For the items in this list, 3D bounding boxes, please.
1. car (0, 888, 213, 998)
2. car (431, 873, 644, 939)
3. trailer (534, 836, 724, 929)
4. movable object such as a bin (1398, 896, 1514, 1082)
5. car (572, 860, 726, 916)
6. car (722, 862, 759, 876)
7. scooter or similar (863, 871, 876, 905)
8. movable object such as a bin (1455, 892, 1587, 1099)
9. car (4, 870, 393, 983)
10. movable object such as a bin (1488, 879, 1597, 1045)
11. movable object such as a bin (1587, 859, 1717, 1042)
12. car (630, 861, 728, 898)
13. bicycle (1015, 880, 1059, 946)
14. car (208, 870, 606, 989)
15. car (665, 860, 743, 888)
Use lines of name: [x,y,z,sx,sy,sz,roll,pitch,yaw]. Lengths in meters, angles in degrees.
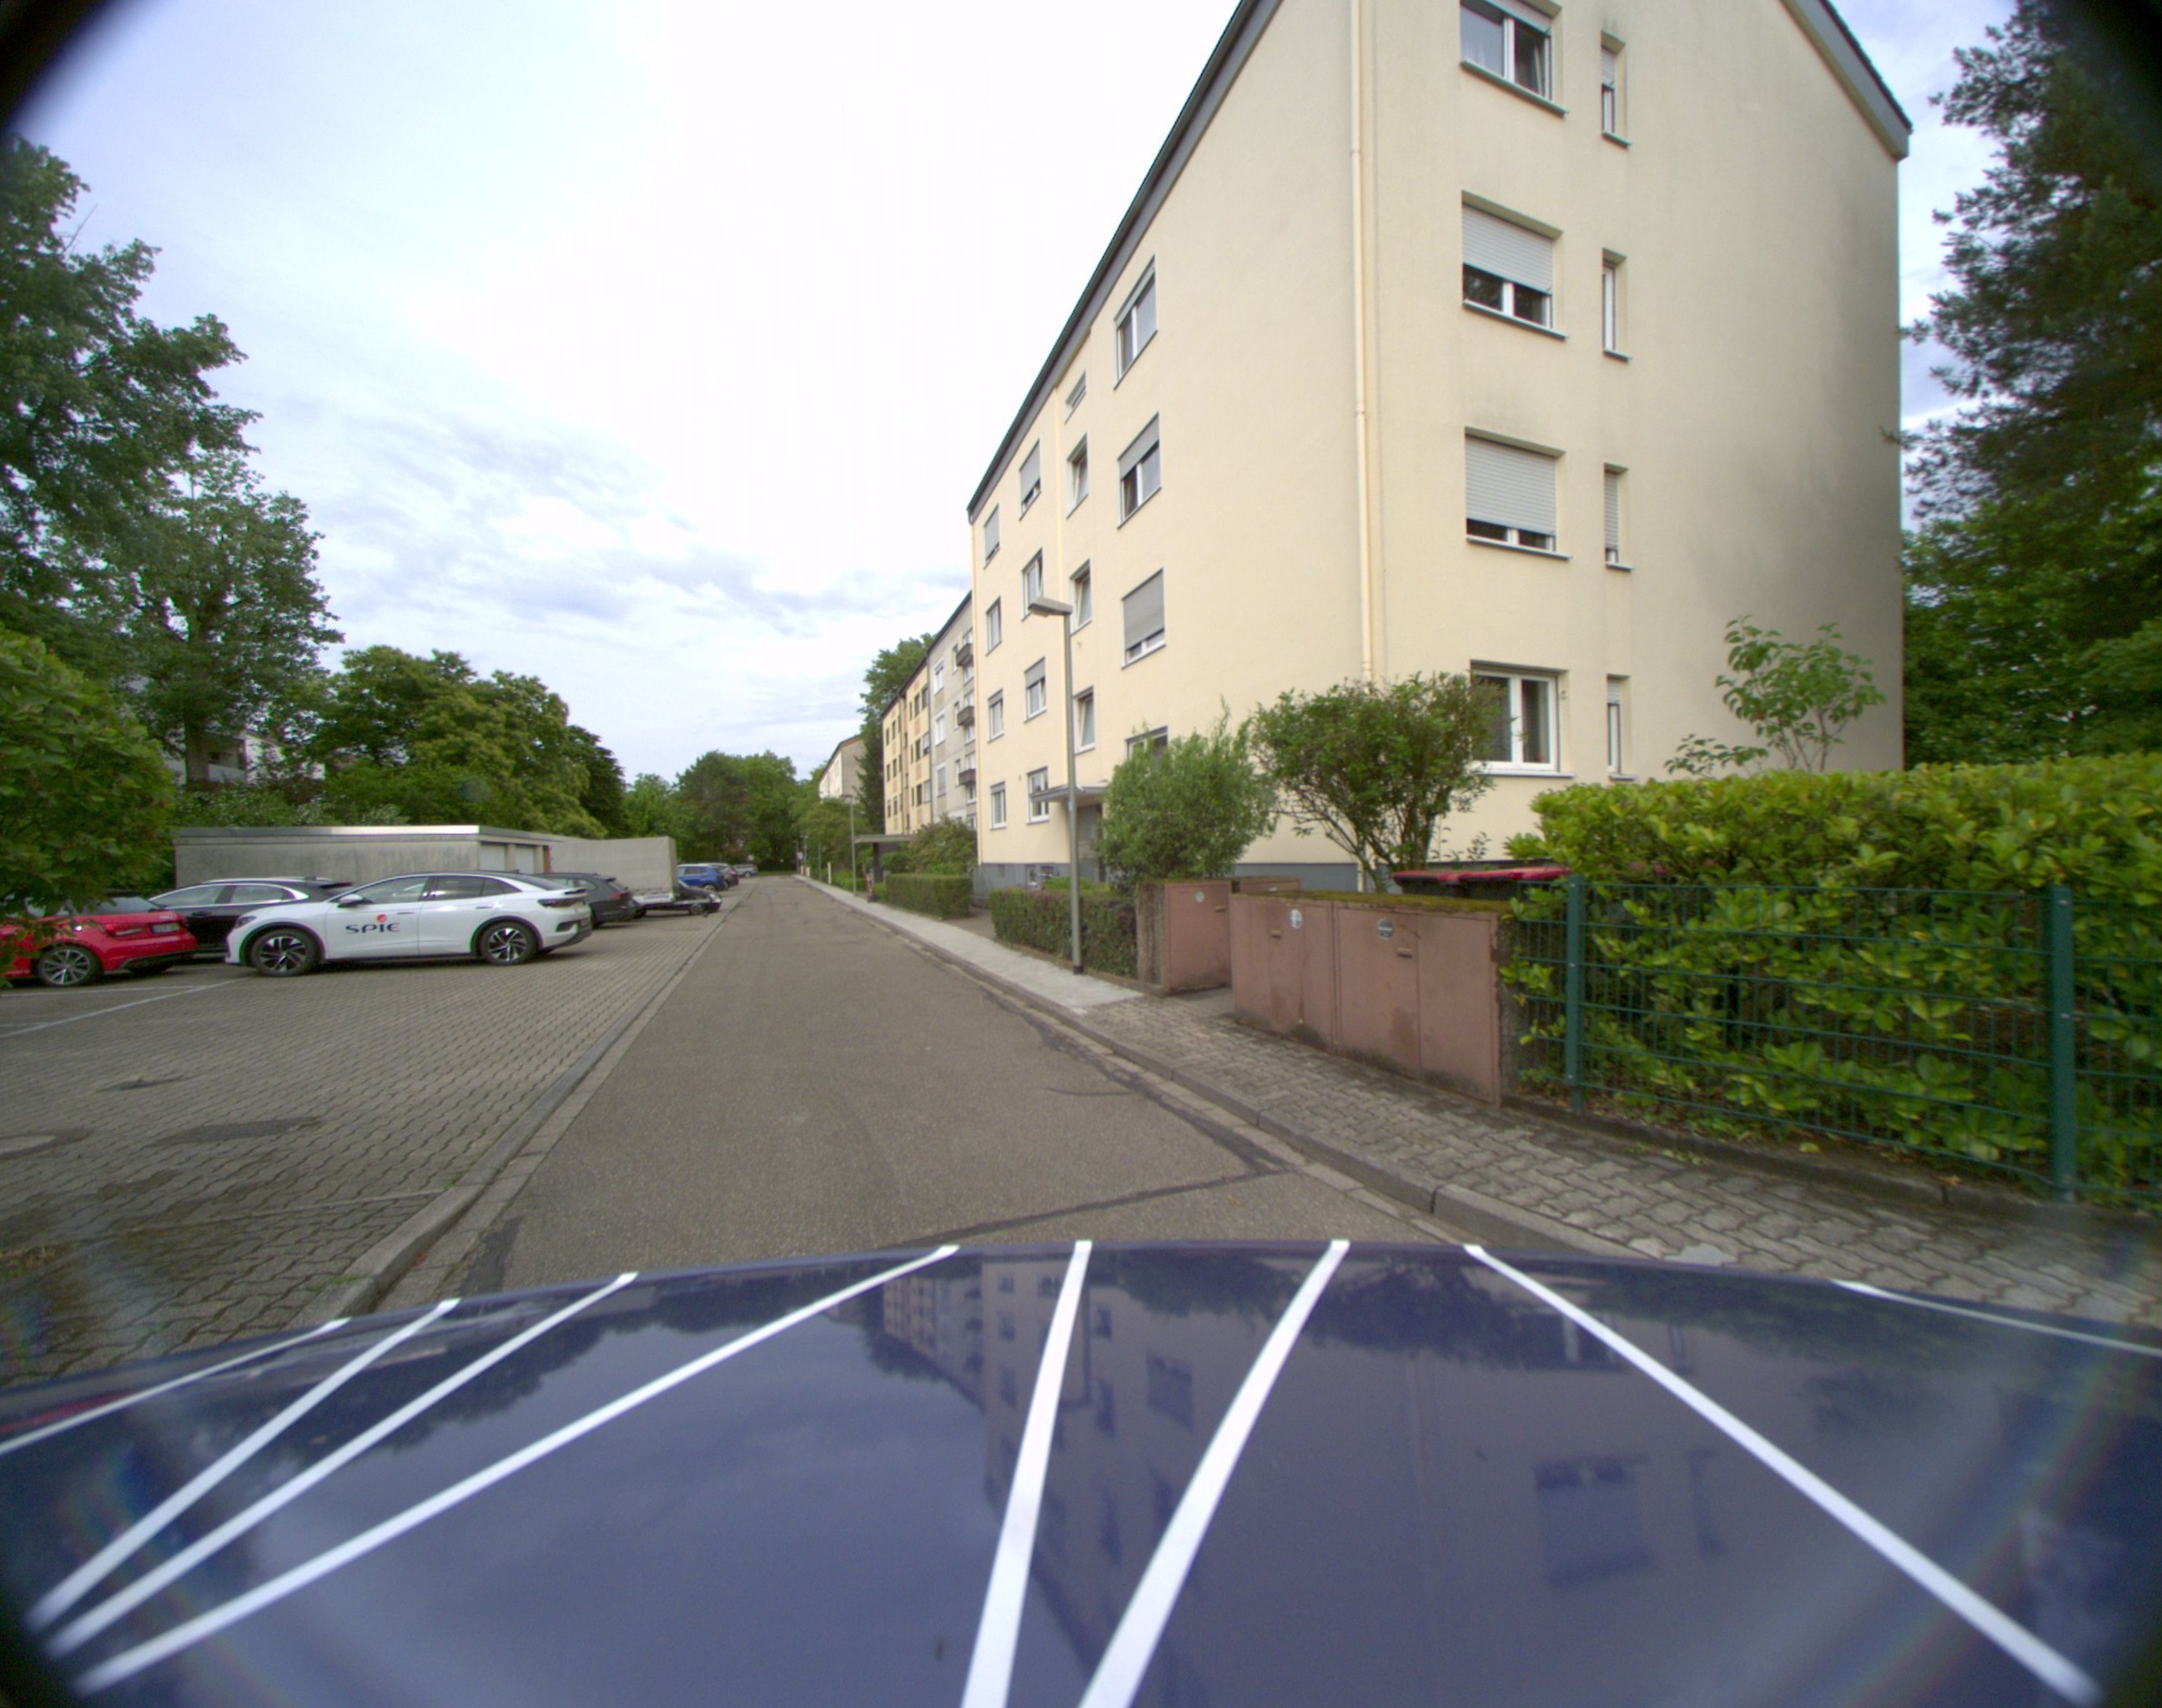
car: [-15.717,1.277,10.820,3.914,1.372,1.968,-1,0,-22]
car: [-13.719,1.272,19.483,4.145,1.440,1.609,-1,0,-22]
trailer: [-13.508,0.788,23.096,4.629,2.510,1.939,-2,1,-22]
movable object such as a bin: [2.605,0.898,5.298,0.507,1.181,0.514,0,0,-23]
car: [-14.488,1.128,25.800,4.330,1.791,1.996,1,-1,-23]
car: [-42.466,1.823,94.802,4.111,1.636,1.784,-1,1,-23]
scooter or similar: [-7.745,1.237,27.793,0.274,1.203,1.162,-1,0,-23]
movable object such as a bin: [2.747,0.842,4.763,0.507,1.181,0.514,0,0,-23]
car: [-15.222,1.150,13.518,4.006,1.543,1.995,-2,1,-29]
movable object such as a bin: [3.522,0.791,5.820,0.507,1.181,0.514,0,0,-23]
movable object such as a bin: [3.858,0.614,5.149,0.507,1.158,0.514,0,0,-23]
car: [-19.260,1.205,36.591,4.005,1.693,1.996,1,-1,-23]
bicycle: [-0.816,1.045,13.820,0.319,1.069,1.415,-3,1,-22]
car: [-10.860,1.135,12.754,4.556,1.579,1.985,-1,0,-20]
car: [-23.469,1.260,47.468,4.214,1.717,1.996,1,-1,-23]
